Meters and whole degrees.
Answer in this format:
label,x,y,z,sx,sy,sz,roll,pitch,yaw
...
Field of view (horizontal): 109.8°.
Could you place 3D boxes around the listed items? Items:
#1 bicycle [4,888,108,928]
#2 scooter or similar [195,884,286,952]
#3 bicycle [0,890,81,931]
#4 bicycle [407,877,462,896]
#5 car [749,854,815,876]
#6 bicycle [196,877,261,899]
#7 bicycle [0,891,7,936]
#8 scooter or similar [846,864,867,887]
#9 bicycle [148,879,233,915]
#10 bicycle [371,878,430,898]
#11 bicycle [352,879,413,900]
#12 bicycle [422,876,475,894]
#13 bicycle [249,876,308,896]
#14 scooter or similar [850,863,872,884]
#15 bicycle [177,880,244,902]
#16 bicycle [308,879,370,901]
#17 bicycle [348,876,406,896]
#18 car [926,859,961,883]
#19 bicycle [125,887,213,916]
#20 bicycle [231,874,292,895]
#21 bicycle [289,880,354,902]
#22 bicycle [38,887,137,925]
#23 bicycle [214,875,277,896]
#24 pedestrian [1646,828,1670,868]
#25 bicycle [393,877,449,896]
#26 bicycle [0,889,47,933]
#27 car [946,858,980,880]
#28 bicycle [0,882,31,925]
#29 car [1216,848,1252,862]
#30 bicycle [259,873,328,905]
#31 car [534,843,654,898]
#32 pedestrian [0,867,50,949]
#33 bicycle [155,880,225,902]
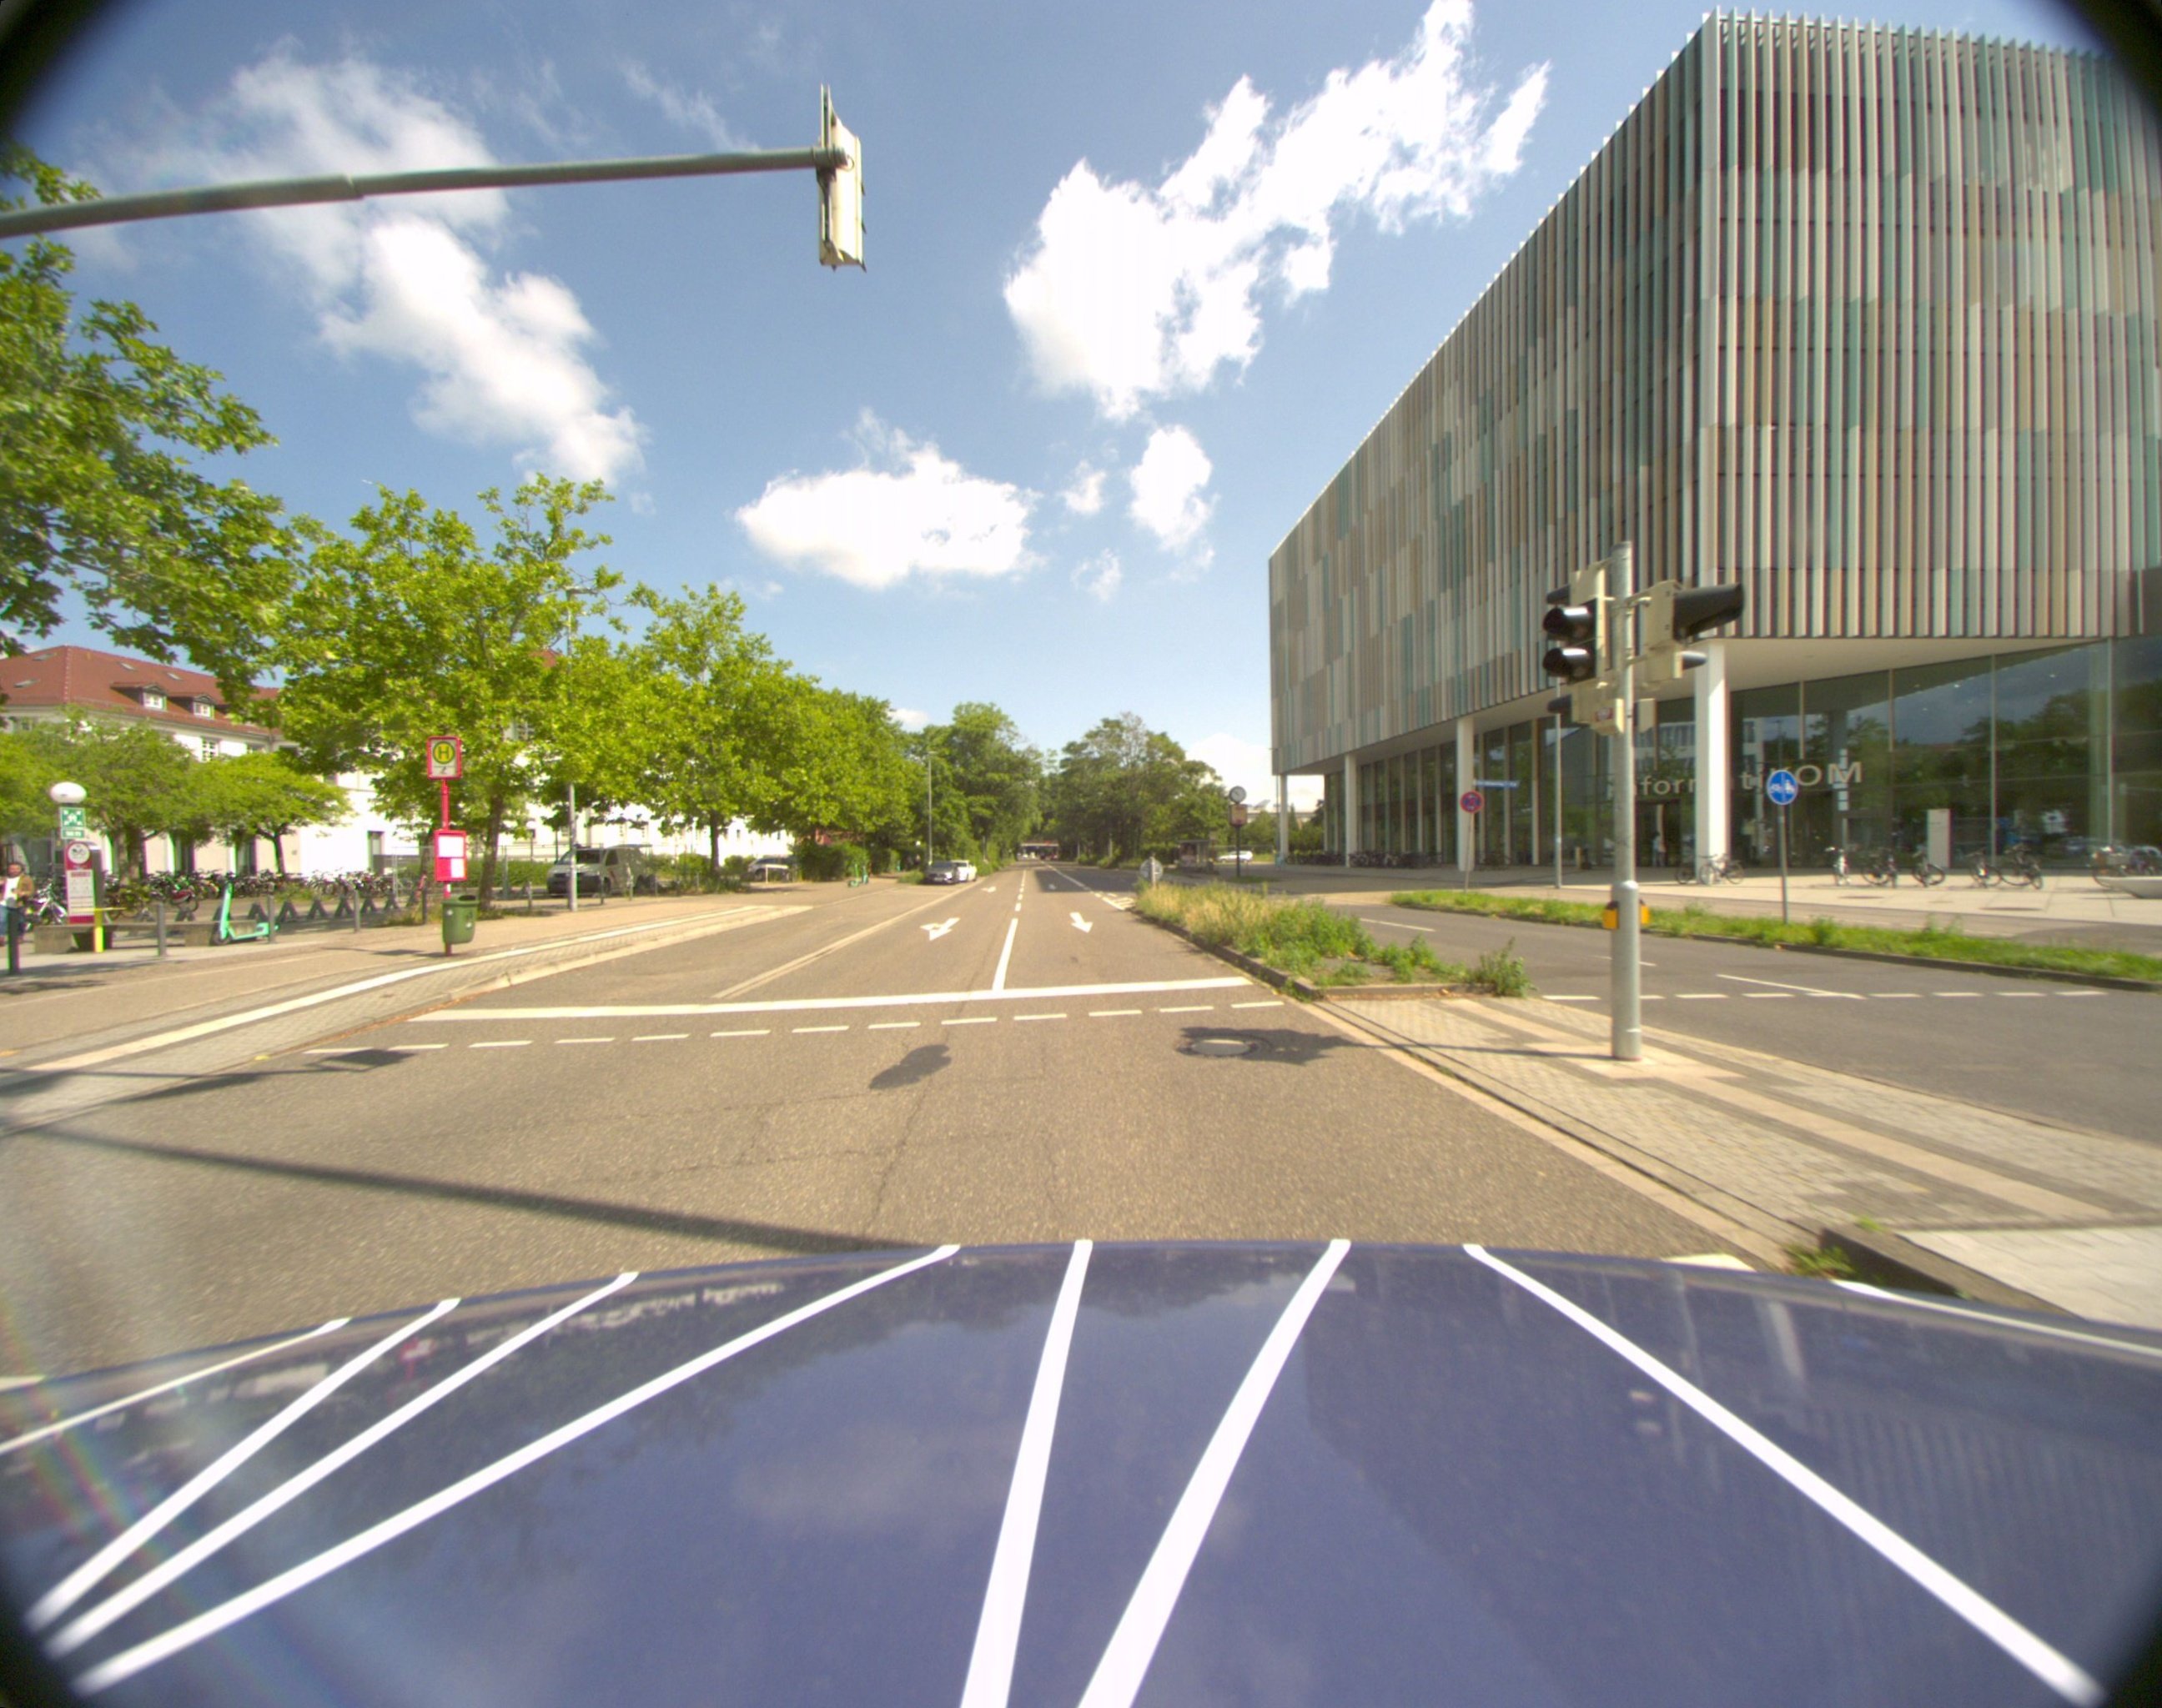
label,x,y,z,sx,sy,sz,roll,pitch,yaw
bicycle,-27.116,1.420,20.124,1.673,0.967,0.626,-1,1,-8
scooter or similar,-15.182,1.127,13.756,0.348,1.122,1.167,-1,1,-1
bicycle,-26.981,1.437,19.454,1.673,0.979,0.626,-1,1,-8
bicycle,-27.377,1.365,32.178,1.673,0.729,0.626,-1,1,-8
car,-20.780,0.745,53.012,4.001,1.416,1.756,-1,1,-11
bicycle,-33.624,1.339,29.980,1.673,0.785,0.626,-1,1,-8
bicycle,-26.787,1.444,17.956,1.673,1.090,0.626,-1,1,-8
scooter or similar,-11.435,1.089,38.774,0.518,1.071,1.441,-1,1,5
bicycle,-27.341,1.308,23.345,1.673,1.022,0.626,-1,1,-8
bicycle,-27.200,1.357,30.388,1.673,0.729,0.626,-1,1,-8
bicycle,-27.019,1.364,29.417,1.673,0.729,0.626,-1,1,-8
bicycle,-27.430,1.348,32.959,1.673,0.729,0.626,-1,1,-8
bicycle,-33.947,1.352,32.138,1.673,0.785,0.626,-1,1,-8
scooter or similar,-11.877,1.027,41.014,0.518,1.065,1.371,-1,1,13
bicycle,-33.521,1.429,29.263,1.673,0.785,0.626,-1,1,-8
bicycle,-29.120,1.412,29.849,1.673,0.785,0.626,-1,1,-9
bicycle,-29.149,1.323,31.480,1.673,0.785,0.626,-1,1,-8
car,-8.103,0.988,45.115,1.709,1.321,3.998,1,0,-6
bicycle,-27.167,1.418,22.643,1.673,0.785,0.626,-1,1,-8
bicycle,-33.843,1.263,31.405,1.673,0.785,0.626,-1,1,-8
bicycle,-29.064,1.419,29.092,1.673,0.785,0.626,-1,1,-9
bicycle,-27.182,1.411,20.809,1.673,0.960,0.626,-1,1,-8
bicycle,-33.746,1.267,30.706,1.673,0.785,0.626,-1,1,-8
pedestrian,27.213,-0.286,35.843,0.649,1.860,0.764,-2,1,-43
bicycle,-27.210,1.347,31.352,1.673,0.729,0.626,-1,1,-8
bicycle,-26.849,1.422,18.707,1.673,1.029,0.626,-1,1,-8
car,-7.816,0.977,50.622,1.560,1.335,4.000,1,0,0
bicycle,-29.271,1.330,20.173,1.673,1.090,0.626,-1,1,-8
car,18.553,0.133,92.044,3.997,1.676,1.646,-1,1,-1
bicycle,-28.603,1.265,27.623,1.673,1.090,0.626,-1,1,-8
car,-19.252,0.601,30.346,2.000,2.002,4.899,-1,0,-6
pedestrian,-21.863,1.090,15.565,0.640,1.640,0.740,-2,1,-35
bicycle,-33.400,1.381,28.501,1.673,0.785,0.626,-1,1,-8
